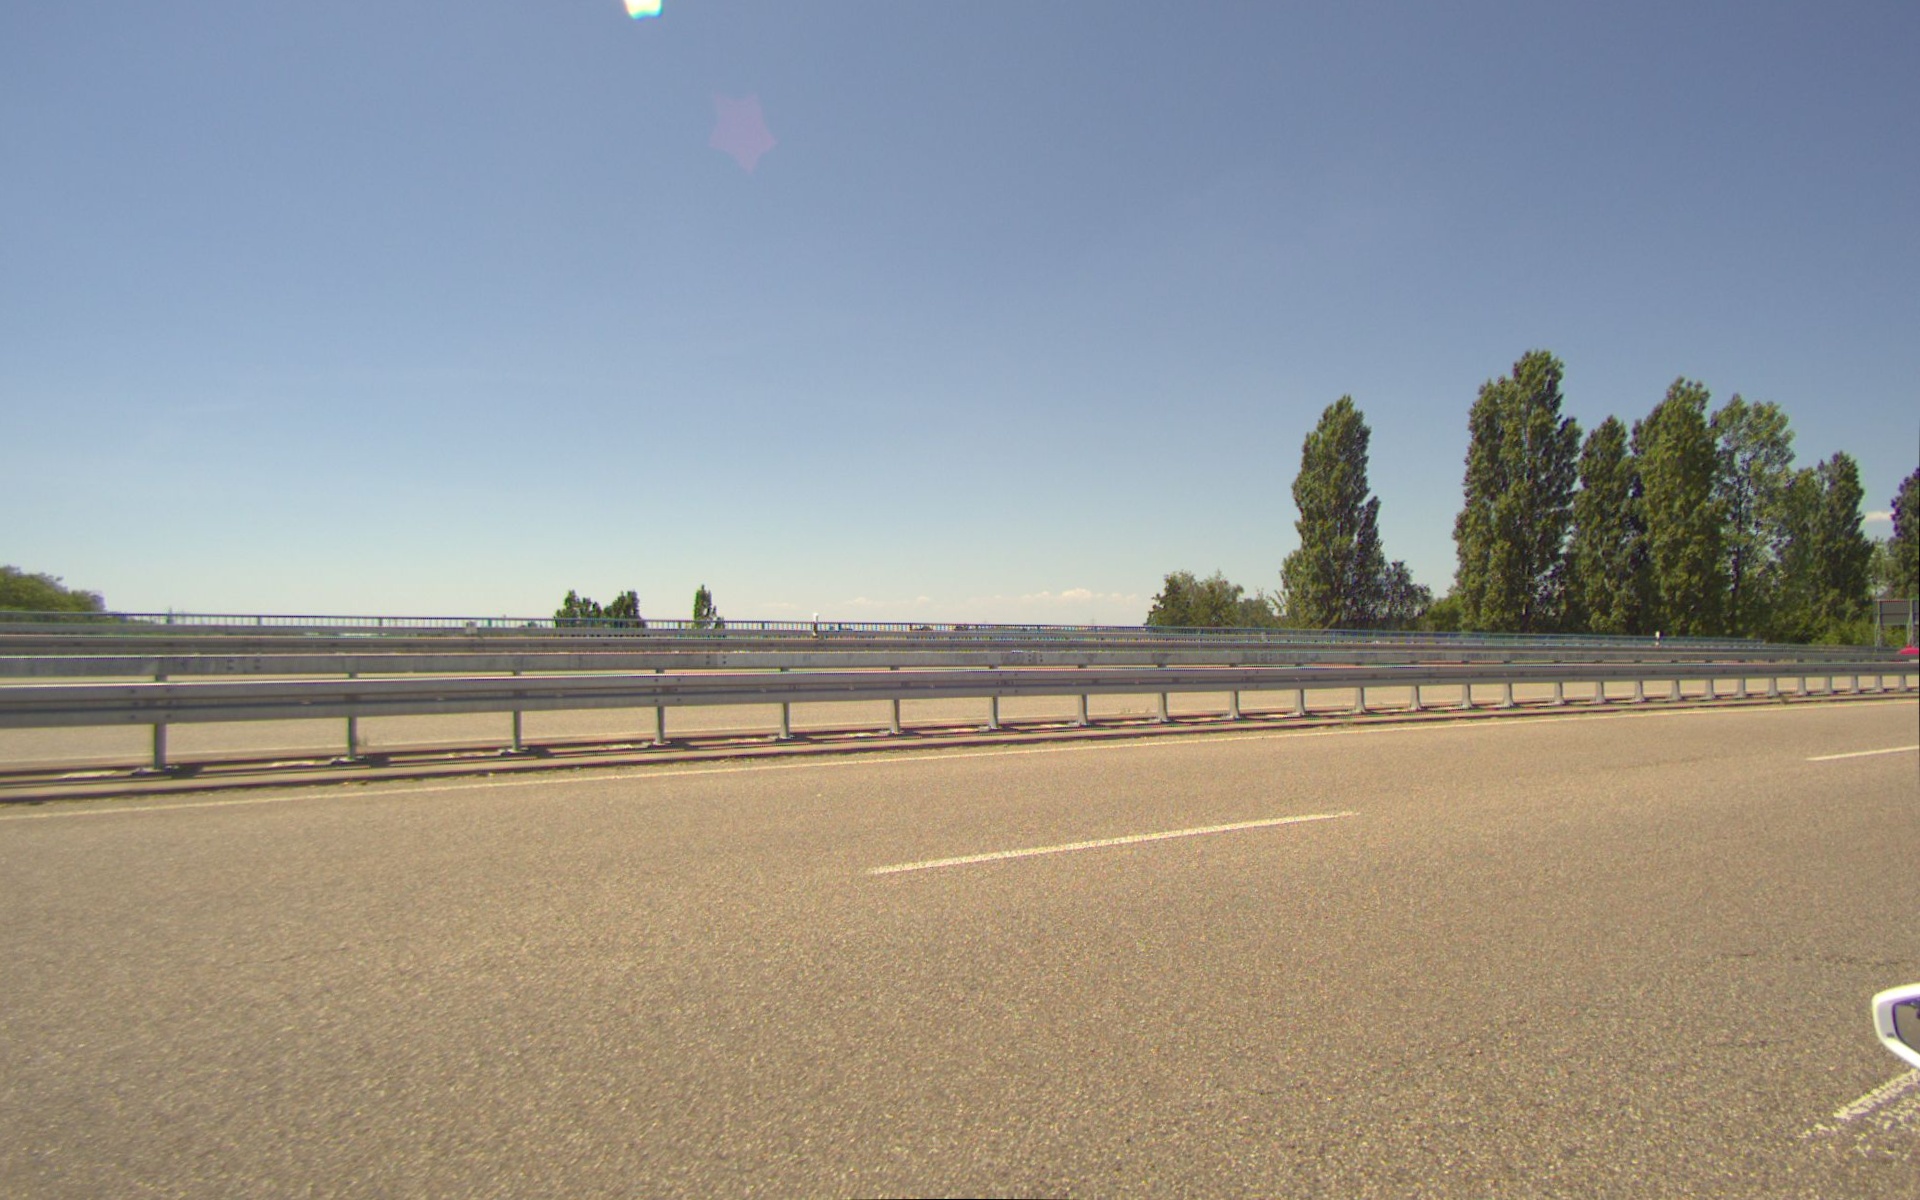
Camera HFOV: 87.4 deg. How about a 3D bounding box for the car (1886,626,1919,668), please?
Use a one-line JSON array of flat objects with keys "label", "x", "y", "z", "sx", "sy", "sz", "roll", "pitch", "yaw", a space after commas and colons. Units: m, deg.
[{"label": "car", "x": 41.070, "y": 2.016, "z": 42.139, "sx": 4.990, "sy": 1.689, "sz": 1.835, "roll": 2, "pitch": -2, "yaw": -29}]
